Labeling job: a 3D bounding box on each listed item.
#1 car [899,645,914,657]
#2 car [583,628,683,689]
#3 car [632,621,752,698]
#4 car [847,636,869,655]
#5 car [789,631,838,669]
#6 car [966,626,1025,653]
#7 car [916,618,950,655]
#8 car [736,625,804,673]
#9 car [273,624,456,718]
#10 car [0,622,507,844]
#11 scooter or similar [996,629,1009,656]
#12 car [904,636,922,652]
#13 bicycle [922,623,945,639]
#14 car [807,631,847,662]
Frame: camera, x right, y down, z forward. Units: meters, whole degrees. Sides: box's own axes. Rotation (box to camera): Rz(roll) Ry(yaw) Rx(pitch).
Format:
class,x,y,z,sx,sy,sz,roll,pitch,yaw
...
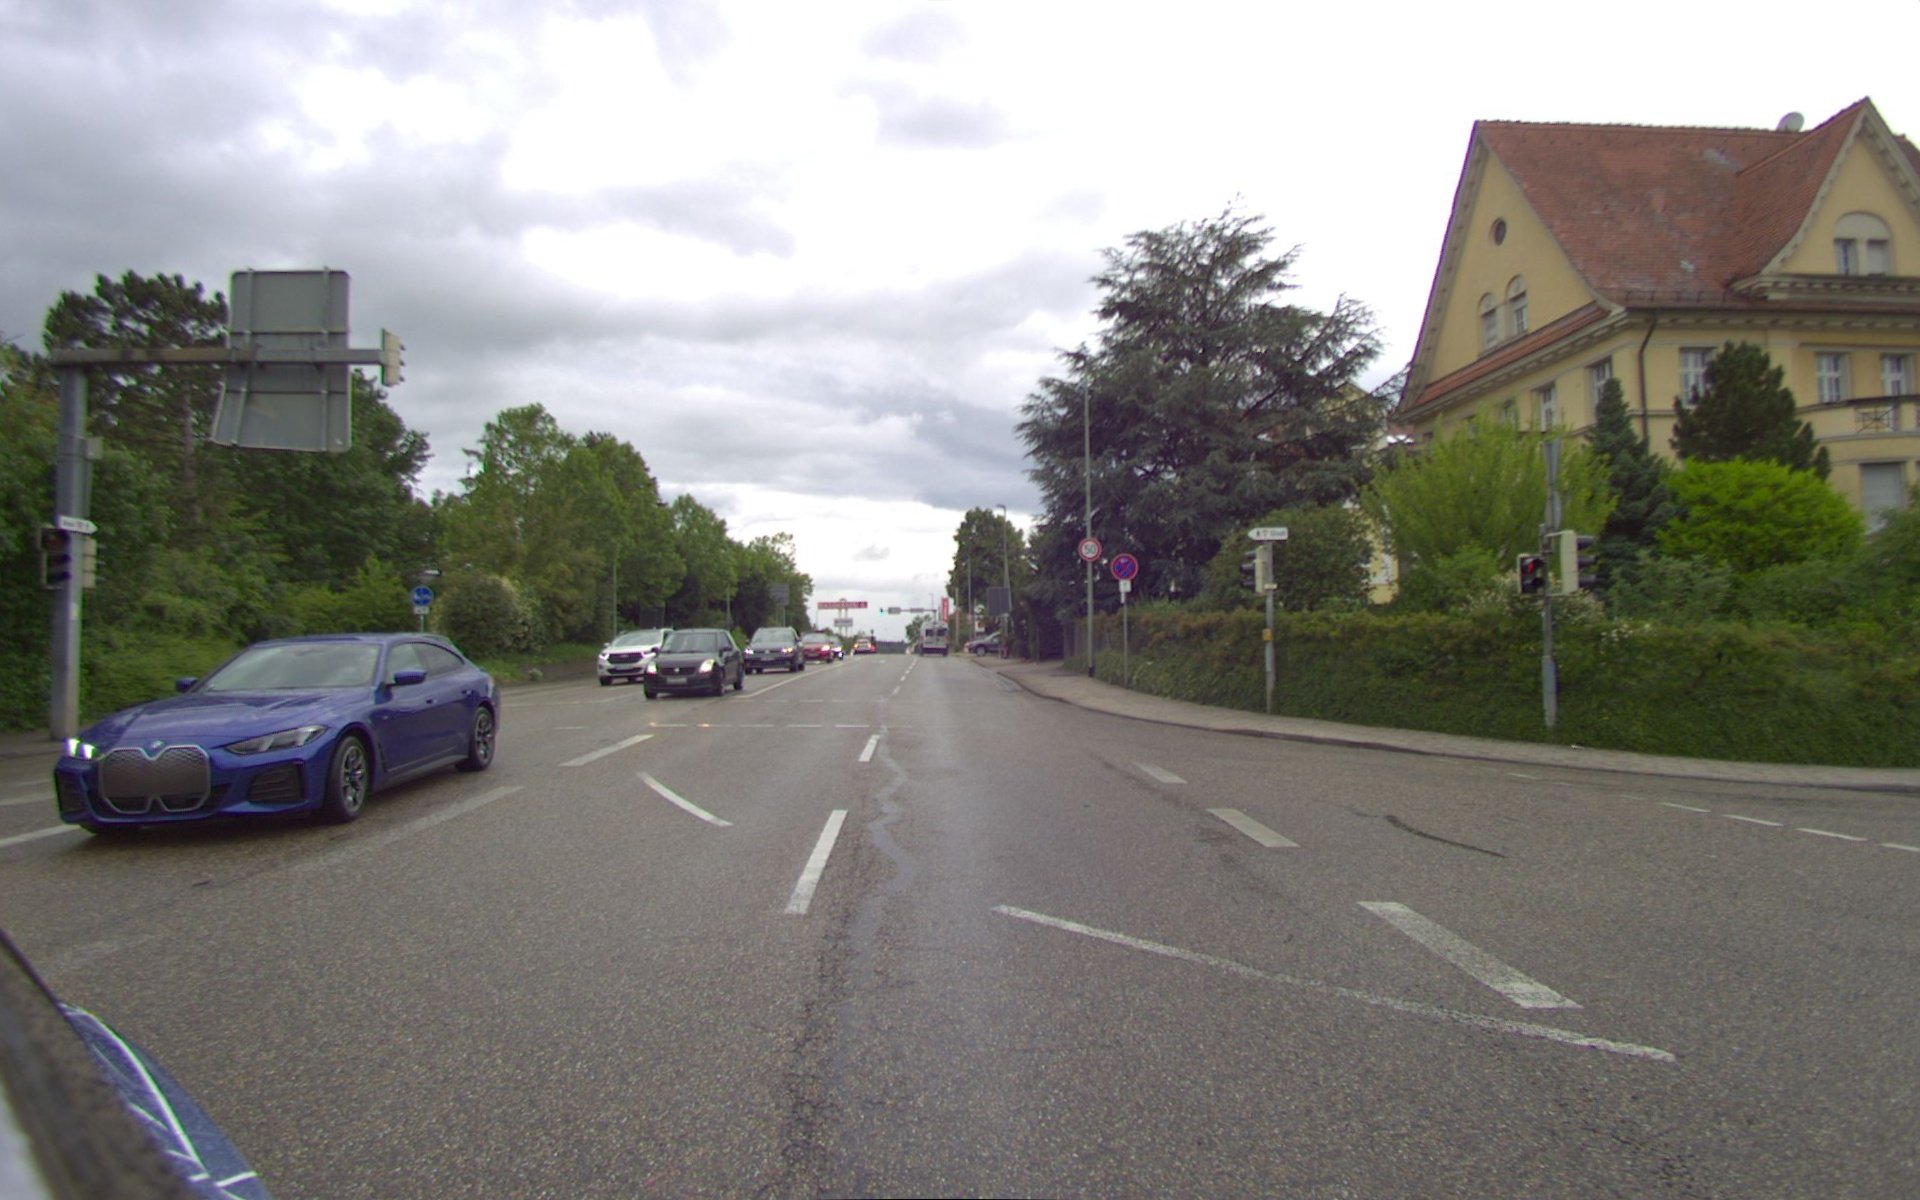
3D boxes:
class,x,y,z,sx,sy,sz,roll,pitch,yaw
car,-6.700,6.380,126.952,1.725,1.408,3.806,-1,-1,-6
car,-10.022,1.753,31.342,1.951,1.634,3.844,-3,-1,-3
car,-6.040,1.330,23.307,1.782,1.564,4.224,-1,-2,-2
car,-10.566,4.710,105.362,1.902,1.731,4.100,-5,-2,-2
car,-7.312,2.459,50.884,1.902,1.731,4.100,-3,-2,-2
car,2.438,2.652,68.245,3.884,1.664,1.716,-1,-2,4
car,-2.021,2.720,74.723,2.271,2.547,5.775,-2,-3,-2
car,-6.721,1.713,36.121,1.782,1.564,4.001,-1,-2,-2
car,-12.013,1.370,20.723,1.681,1.634,3.846,-3,-1,-5
car,-5.651,0.940,8.882,1.777,1.418,4.277,-1,-2,-5
scooter or similar,2.317,2.294,54.604,0.500,1.416,1.876,-1,-2,8
car,-4.932,4.575,105.712,1.755,1.513,4.474,-1,-1,-3
bicycle,-1.880,2.178,71.637,1.618,1.134,0.468,0,-3,-2
car,-7.754,2.683,59.167,1.902,1.731,4.100,-2,-2,-2
